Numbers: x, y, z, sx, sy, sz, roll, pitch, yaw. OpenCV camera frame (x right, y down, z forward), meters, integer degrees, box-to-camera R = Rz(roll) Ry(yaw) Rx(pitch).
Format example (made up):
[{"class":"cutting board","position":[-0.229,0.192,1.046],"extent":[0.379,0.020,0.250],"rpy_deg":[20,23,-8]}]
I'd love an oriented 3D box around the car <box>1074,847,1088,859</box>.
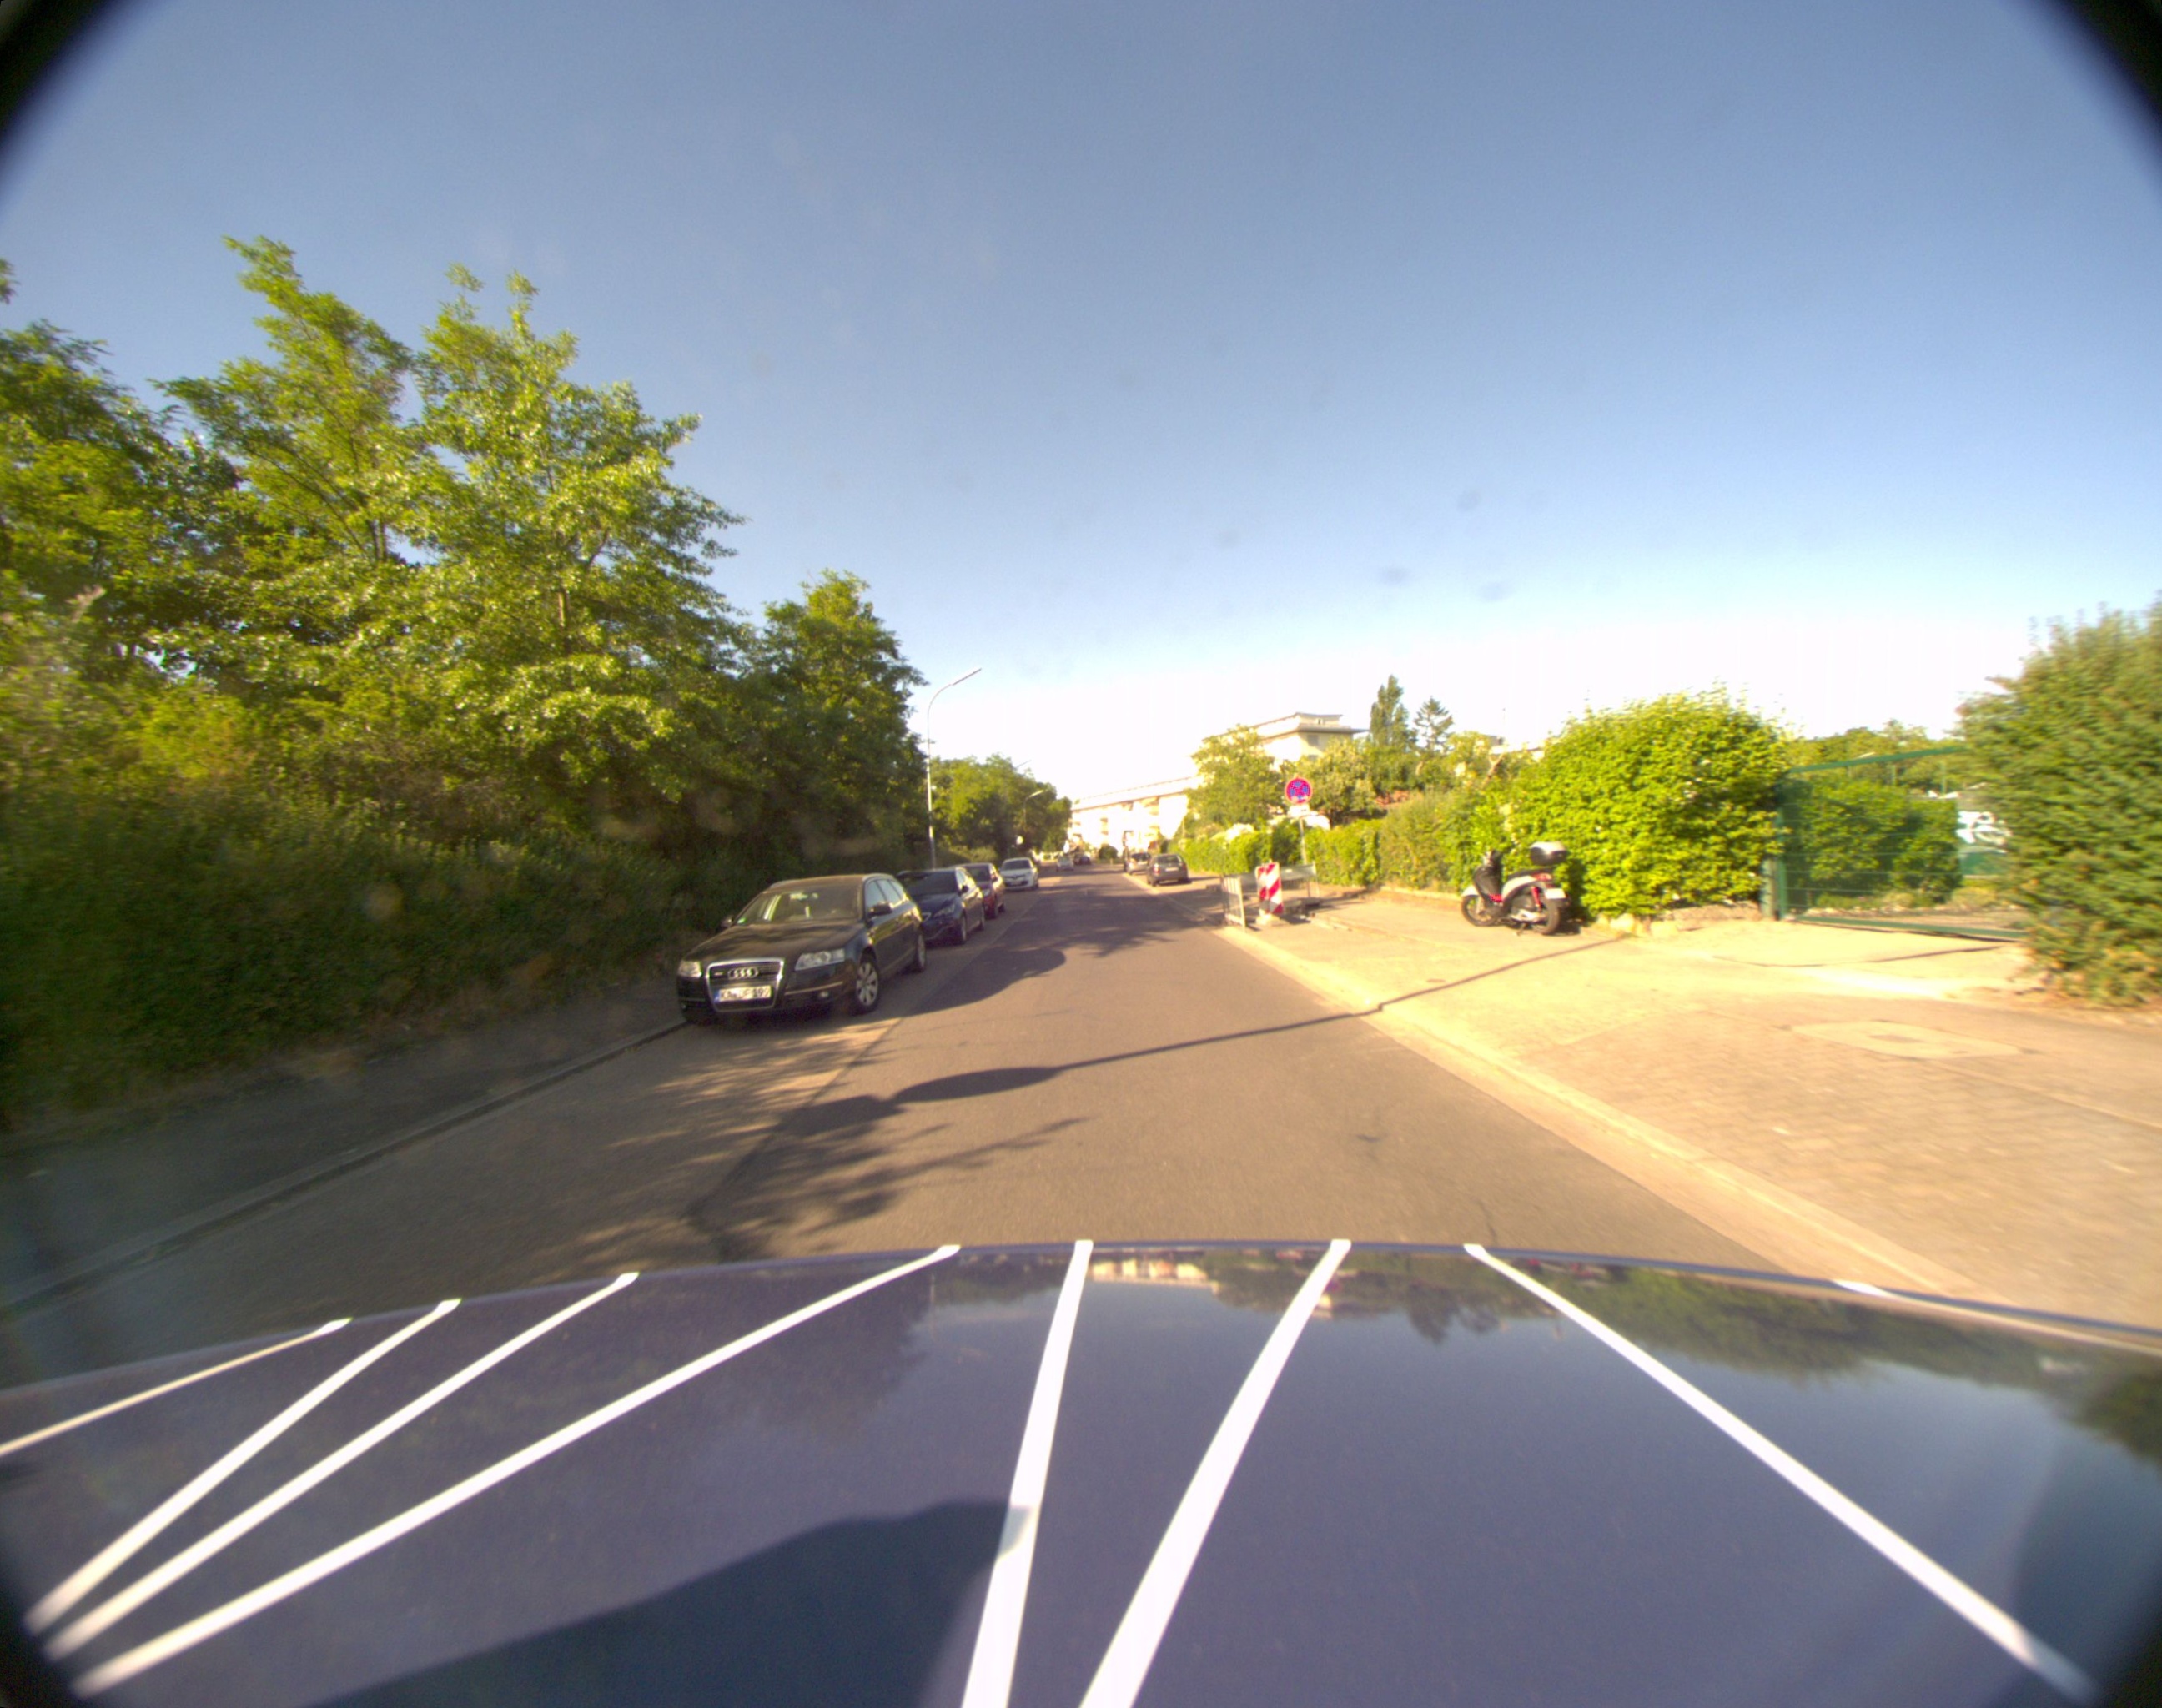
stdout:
[{"class":"car","position":[-0.071,-0.168,125.712],"extent":[1.845,1.770,4.886],"rpy_deg":[-1,0,-5]}]

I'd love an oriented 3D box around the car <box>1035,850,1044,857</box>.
[{"class":"car","position":[-12.072,-0.256,222.812],"extent":[2.008,1.837,4.612],"rpy_deg":[-5,1,-9]}]

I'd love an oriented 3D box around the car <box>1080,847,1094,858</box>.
[{"class":"car","position":[0.851,-0.232,112.521],"extent":[1.732,1.455,4.680],"rpy_deg":[-2,0,-5]}]

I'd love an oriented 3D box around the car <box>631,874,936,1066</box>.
[{"class":"car","position":[-3.105,1.106,9.141],"extent":[1.758,1.405,4.655],"rpy_deg":[-5,1,-1]}]

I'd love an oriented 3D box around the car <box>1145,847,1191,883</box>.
[{"class":"car","position":[4.077,0.486,36.191],"extent":[1.647,1.547,4.417],"rpy_deg":[-2,1,1]}]

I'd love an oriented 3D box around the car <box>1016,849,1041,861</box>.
[{"class":"car","position":[-9.700,0.123,139.341],"extent":[4.464,2.005,2.020],"rpy_deg":[-2,0,-4]}]

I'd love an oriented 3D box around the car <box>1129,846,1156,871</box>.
[{"class":"car","position":[4.332,0.296,53.869],"extent":[1.647,1.590,4.311],"rpy_deg":[-4,1,3]}]

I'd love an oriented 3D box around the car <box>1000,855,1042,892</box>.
[{"class":"car","position":[-2.830,0.887,36.284],"extent":[1.559,1.529,3.555],"rpy_deg":[-5,1,1]}]

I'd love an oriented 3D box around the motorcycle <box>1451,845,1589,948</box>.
[{"class":"motorcycle","position":[6.094,0.523,10.701],"extent":[0.568,1.261,2.090],"rpy_deg":[-4,1,-3]}]

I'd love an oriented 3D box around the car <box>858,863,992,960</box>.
[{"class":"car","position":[-2.992,1.027,15.547],"extent":[1.659,1.436,4.655],"rpy_deg":[-5,1,0]}]

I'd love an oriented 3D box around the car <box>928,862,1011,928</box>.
[{"class":"car","position":[-3.030,1.078,21.442],"extent":[1.659,1.478,3.838],"rpy_deg":[-5,1,0]}]

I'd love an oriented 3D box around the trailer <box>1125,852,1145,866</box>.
[{"class":"trailer","position":[4.544,0.419,64.384],"extent":[1.548,0.948,2.647],"rpy_deg":[-4,1,3]}]

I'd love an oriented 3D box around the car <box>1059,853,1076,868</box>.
[{"class":"car","position":[-1.371,0.667,75.223],"extent":[1.597,1.417,4.170],"rpy_deg":[0,0,-1]}]
